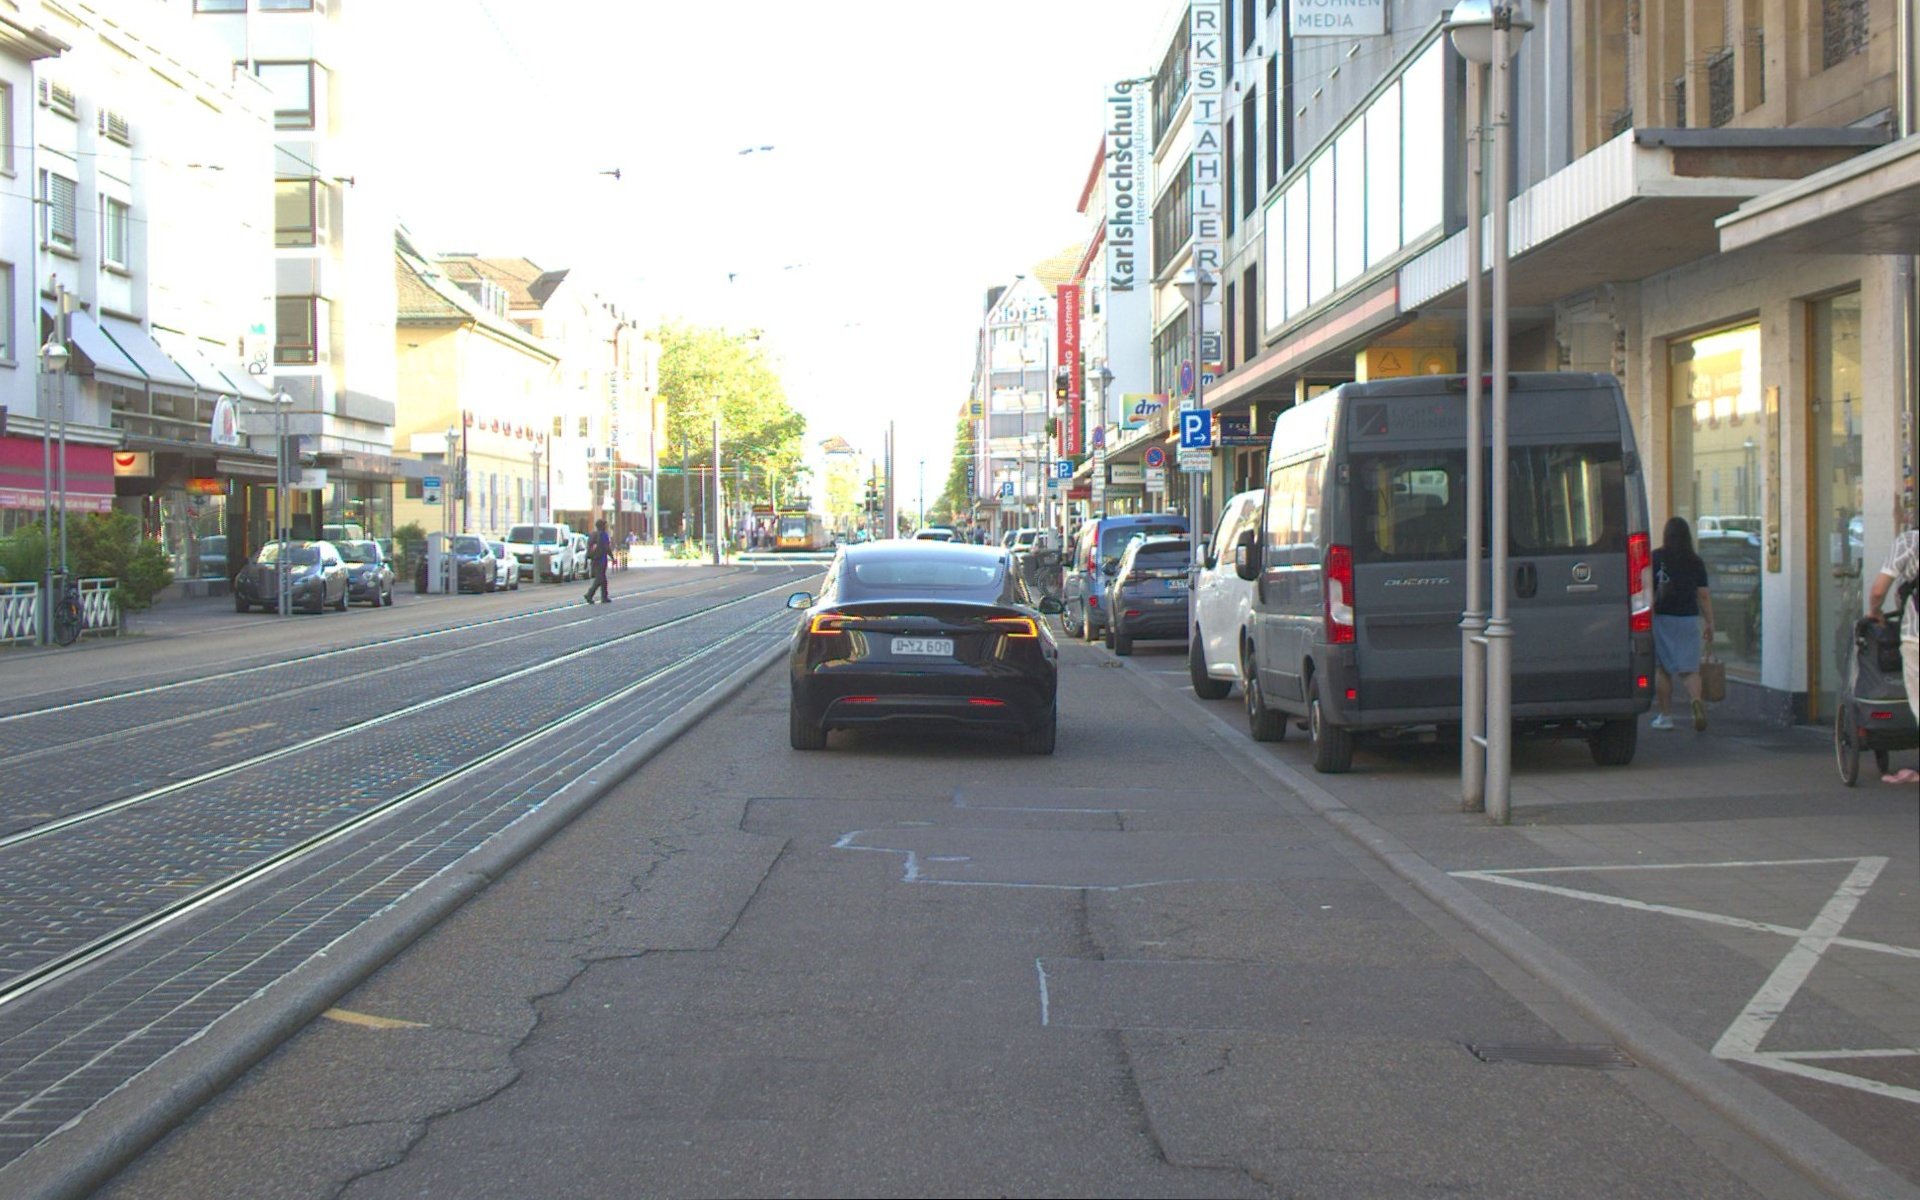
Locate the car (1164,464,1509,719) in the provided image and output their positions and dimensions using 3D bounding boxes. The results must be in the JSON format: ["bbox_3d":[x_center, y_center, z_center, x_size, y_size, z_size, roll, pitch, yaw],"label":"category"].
[{"bbox_3d":[3.168,-0.132,29.918,2.158,1.920,4.618,-3,2,-3],"label":"car"}]

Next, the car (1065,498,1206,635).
[{"bbox_3d":[2.508,-0.526,49.893,1.821,1.864,3.754,-1,2,0],"label":"car"}]

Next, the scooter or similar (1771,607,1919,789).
[{"bbox_3d":[5.048,0.535,19.344,0.593,0.933,1.299,-2,1,-2],"label":"scooter or similar"}]

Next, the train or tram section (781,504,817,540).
[{"bbox_3d":[-11.965,-5.838,255.810,1.994,2.625,6.801,0,2,3],"label":"train or tram section"}]

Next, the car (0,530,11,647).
[{"bbox_3d":[-13.502,-0.134,43.801,1.675,1.540,3.743,2,1,2],"label":"car"}]

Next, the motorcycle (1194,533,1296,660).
[{"bbox_3d":[3.155,-0.056,38.315,0.813,1.311,2.633,-4,1,0],"label":"motorcycle"}]

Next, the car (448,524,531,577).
[{"bbox_3d":[-13.814,-1.473,101.188,1.770,1.503,3.972,0,1,2],"label":"car"}]

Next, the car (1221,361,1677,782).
[{"bbox_3d":[3.146,-0.245,23.358,2.171,2.453,5.362,-2,2,-1],"label":"car"}]

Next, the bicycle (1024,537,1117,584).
[{"bbox_3d":[2.628,-0.950,81.968,2.159,1.093,0.686,-1,1,-2],"label":"bicycle"}]

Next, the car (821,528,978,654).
[{"bbox_3d":[-0.728,-0.126,40.937,1.761,1.414,4.355,0,1,-1],"label":"car"}]

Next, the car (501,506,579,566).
[{"bbox_3d":[-13.969,-2.150,114.559,2.009,1.954,4.725,0,1,0],"label":"car"}]

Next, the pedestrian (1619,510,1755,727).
[{"bbox_3d":[5.316,0.126,25.178,0.769,1.538,0.804,-2,1,0],"label":"pedestrian"}]

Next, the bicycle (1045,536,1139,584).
[{"bbox_3d":[3.103,-0.948,81.081,2.159,1.093,0.686,-1,1,-2],"label":"bicycle"}]

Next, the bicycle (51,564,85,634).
[{"bbox_3d":[-13.150,-0.019,50.660,0.368,0.999,1.605,-1,1,-18],"label":"bicycle"}]

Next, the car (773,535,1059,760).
[{"bbox_3d":[-0.282,0.273,24.730,1.869,1.422,4.365,0,2,0],"label":"car"}]

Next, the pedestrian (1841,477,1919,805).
[{"bbox_3d":[5.154,0.197,18.402,0.556,1.708,0.955,-2,1,-1],"label":"pedestrian"}]

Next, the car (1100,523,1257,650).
[{"bbox_3d":[2.740,-0.205,43.760,1.751,1.494,3.754,-1,2,0],"label":"car"}]

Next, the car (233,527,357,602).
[{"bbox_3d":[-13.864,-0.772,71.877,1.770,1.503,3.864,0,1,1],"label":"car"}]

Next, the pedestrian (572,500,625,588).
[{"bbox_3d":[-7.614,-1.184,72.412,0.772,1.842,0.827,0,1,30],"label":"pedestrian"}]

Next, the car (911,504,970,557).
[{"bbox_3d":[-0.678,-2.492,123.037,2.085,1.864,3.754,0,2,0],"label":"car"}]

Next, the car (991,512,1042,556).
[{"bbox_3d":[2.262,-2.664,139.271,1.993,1.747,4.000,0,1,0],"label":"car"}]

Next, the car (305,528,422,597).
[{"bbox_3d":[-13.500,-0.871,78.010,1.770,1.503,3.860,0,1,3],"label":"car"}]

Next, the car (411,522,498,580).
[{"bbox_3d":[-13.976,-1.378,95.247,1.718,1.566,3.849,0,1,2],"label":"car"}]

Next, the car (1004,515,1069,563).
[{"bbox_3d":[2.442,-1.952,110.777,1.993,1.537,4.000,0,1,0],"label":"car"}]
